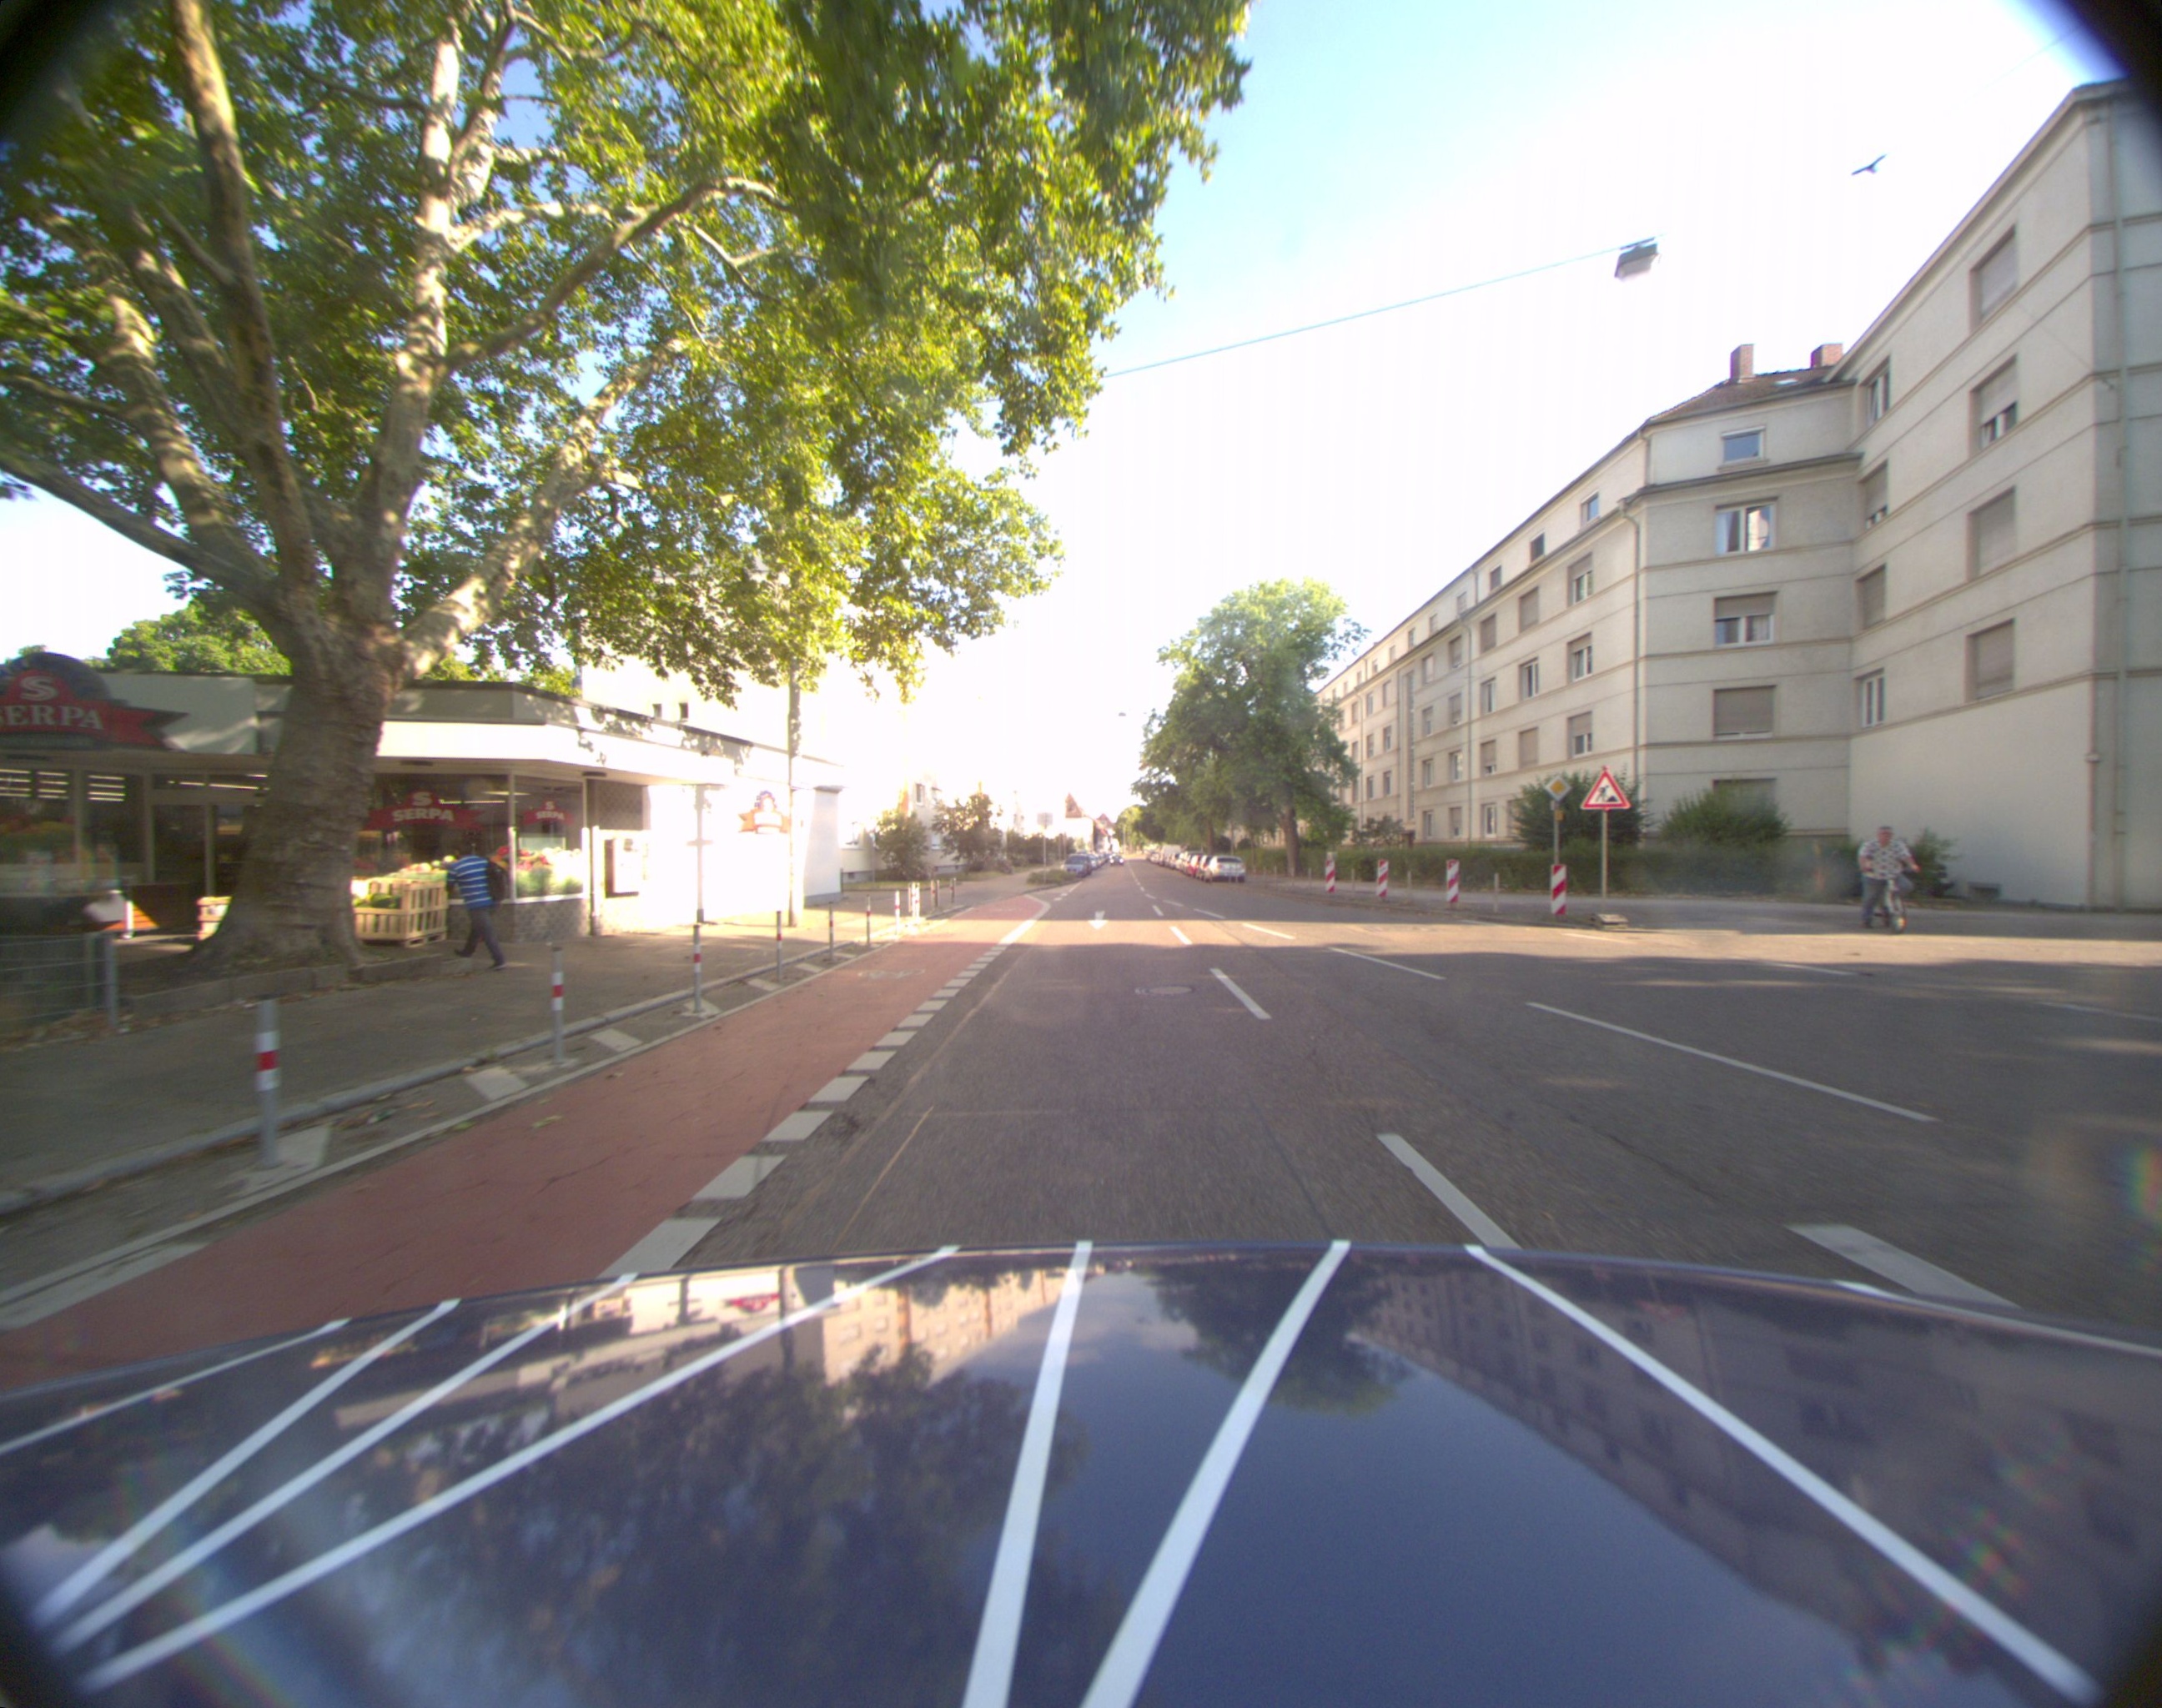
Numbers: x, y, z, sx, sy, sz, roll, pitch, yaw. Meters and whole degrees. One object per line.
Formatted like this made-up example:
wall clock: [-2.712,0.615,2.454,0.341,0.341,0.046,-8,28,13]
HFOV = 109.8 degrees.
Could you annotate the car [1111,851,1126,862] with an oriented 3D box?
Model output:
car: [4.995,0.339,100.212,1.775,1.492,3.675,-1,0,5]

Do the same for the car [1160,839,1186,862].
car: [10.507,-0.468,87.214,2.363,2.431,6.164,-4,1,2]

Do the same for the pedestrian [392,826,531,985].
pedestrian: [-8.233,0.658,10.147,1.152,2.002,0.829,2,2,-5]

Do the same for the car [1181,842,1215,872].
car: [8.390,0.251,54.806,1.875,1.547,4.503,-4,-6,3]

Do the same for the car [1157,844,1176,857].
car: [11.672,-0.483,103.999,1.878,1.348,4.652,9,1,0]

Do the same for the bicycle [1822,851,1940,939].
bicycle: [13.553,0.636,12.964,1.008,1.257,2.488,-1,2,38]

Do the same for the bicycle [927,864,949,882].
bicycle: [-7.851,1.023,41.839,0.638,0.920,2.231,-3,-1,3]

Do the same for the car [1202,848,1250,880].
car: [7.524,0.490,39.894,1.773,1.345,4.710,-5,1,3]

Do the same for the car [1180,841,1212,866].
car: [8.951,-0.070,59.572,1.921,1.668,4.974,-4,1,3]

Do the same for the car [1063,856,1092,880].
car: [-0.212,0.998,54.454,1.744,1.465,4.000,-4,1,3]

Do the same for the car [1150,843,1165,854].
car: [11.971,-0.822,119.018,2.009,1.543,4.471,-3,1,2]

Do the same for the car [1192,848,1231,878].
car: [7.652,0.488,44.861,1.708,1.431,4.129,-6,1,3]

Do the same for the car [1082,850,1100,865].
car: [1.080,0.335,78.545,1.683,1.407,4.723,0,1,3]

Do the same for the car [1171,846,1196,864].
car: [9.523,0.085,70.854,1.875,1.549,5.057,3,0,3]

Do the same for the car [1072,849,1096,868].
car: [0.289,0.382,67.476,1.902,1.641,4.343,-1,0,3]

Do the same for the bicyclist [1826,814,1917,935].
bicyclist: [13.649,0.334,13.154,0.974,2.002,0.799,-1,2,38]

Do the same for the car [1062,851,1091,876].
car: [-0.283,0.750,60.656,1.931,1.649,4.677,-6,1,3]

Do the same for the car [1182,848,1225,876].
car: [7.954,0.510,49.663,1.876,1.549,3.999,-7,1,-2]

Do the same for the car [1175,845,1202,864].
car: [9.232,0.068,65.608,1.875,1.549,4.102,1,-1,3]
